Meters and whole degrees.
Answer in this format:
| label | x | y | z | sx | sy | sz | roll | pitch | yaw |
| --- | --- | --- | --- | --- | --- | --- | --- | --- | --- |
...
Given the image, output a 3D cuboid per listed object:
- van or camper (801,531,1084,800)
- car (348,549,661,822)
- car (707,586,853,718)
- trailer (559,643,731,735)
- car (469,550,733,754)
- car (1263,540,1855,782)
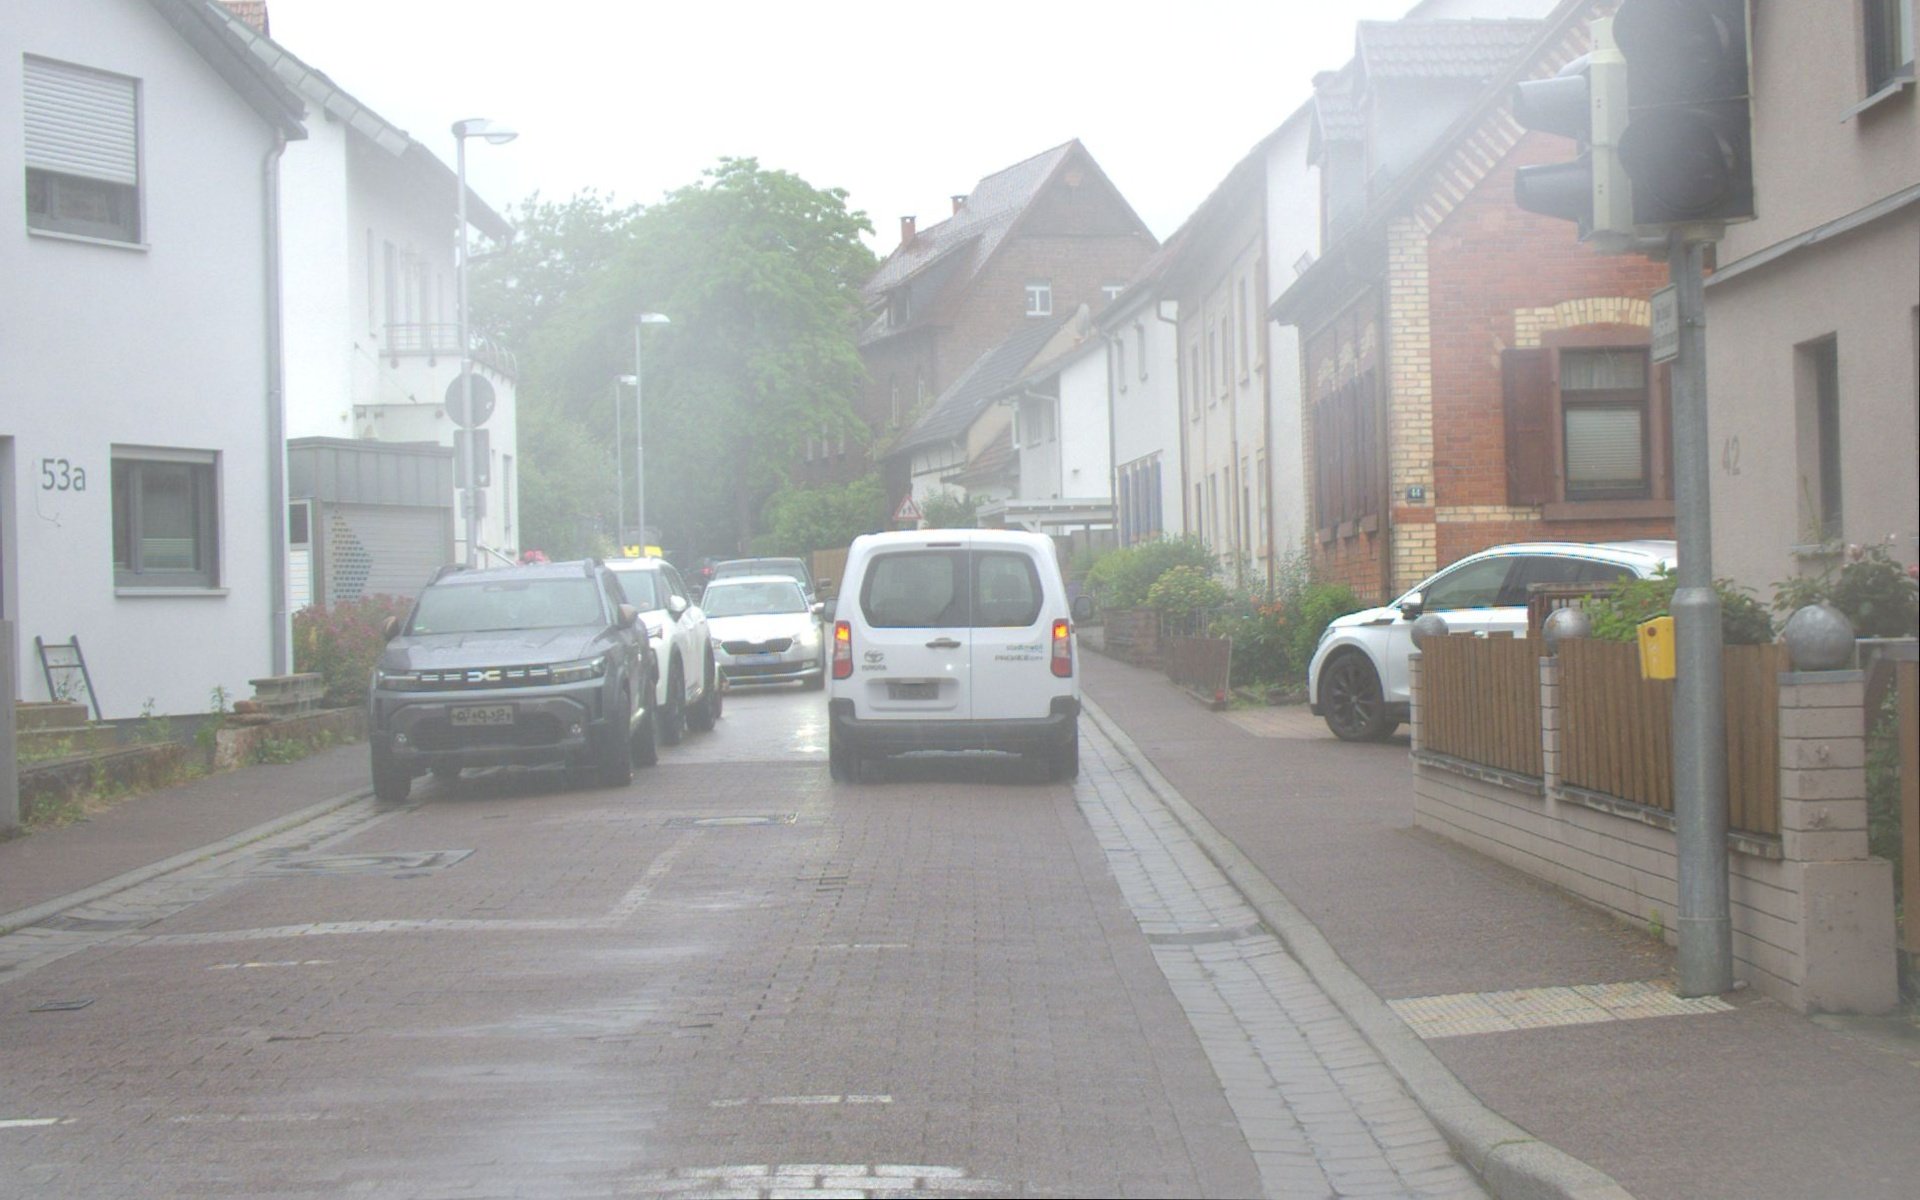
| label | x | y | z | sx | sy | sz | roll | pitch | yaw |
| --- | --- | --- | --- | --- | --- | --- | --- | --- | --- |
| van or camper | -0.118 | 0.429 | 25.782 | 1.943 | 1.845 | 4.000 | 1 | 1 | 0 |
| car | -3.281 | 0.551 | 25.462 | 1.812 | 1.773 | 4.018 | -2 | 1 | -1 |
| car | -2.357 | 0.662 | 44.223 | 1.688 | 1.559 | 3.934 | -2 | -1 | -5 |
| trailer | -3.206 | 0.897 | 35.324 | 1.483 | 0.826 | 2.676 | -3 | -1 | 0 |
| car | -3.216 | 0.447 | 31.609 | 1.748 | 1.631 | 4.418 | -4 | 0 | 2 |
| car | 4.485 | 0.387 | 26.483 | 1.871 | 1.584 | 4.619 | -1 | 3 | -32 |
